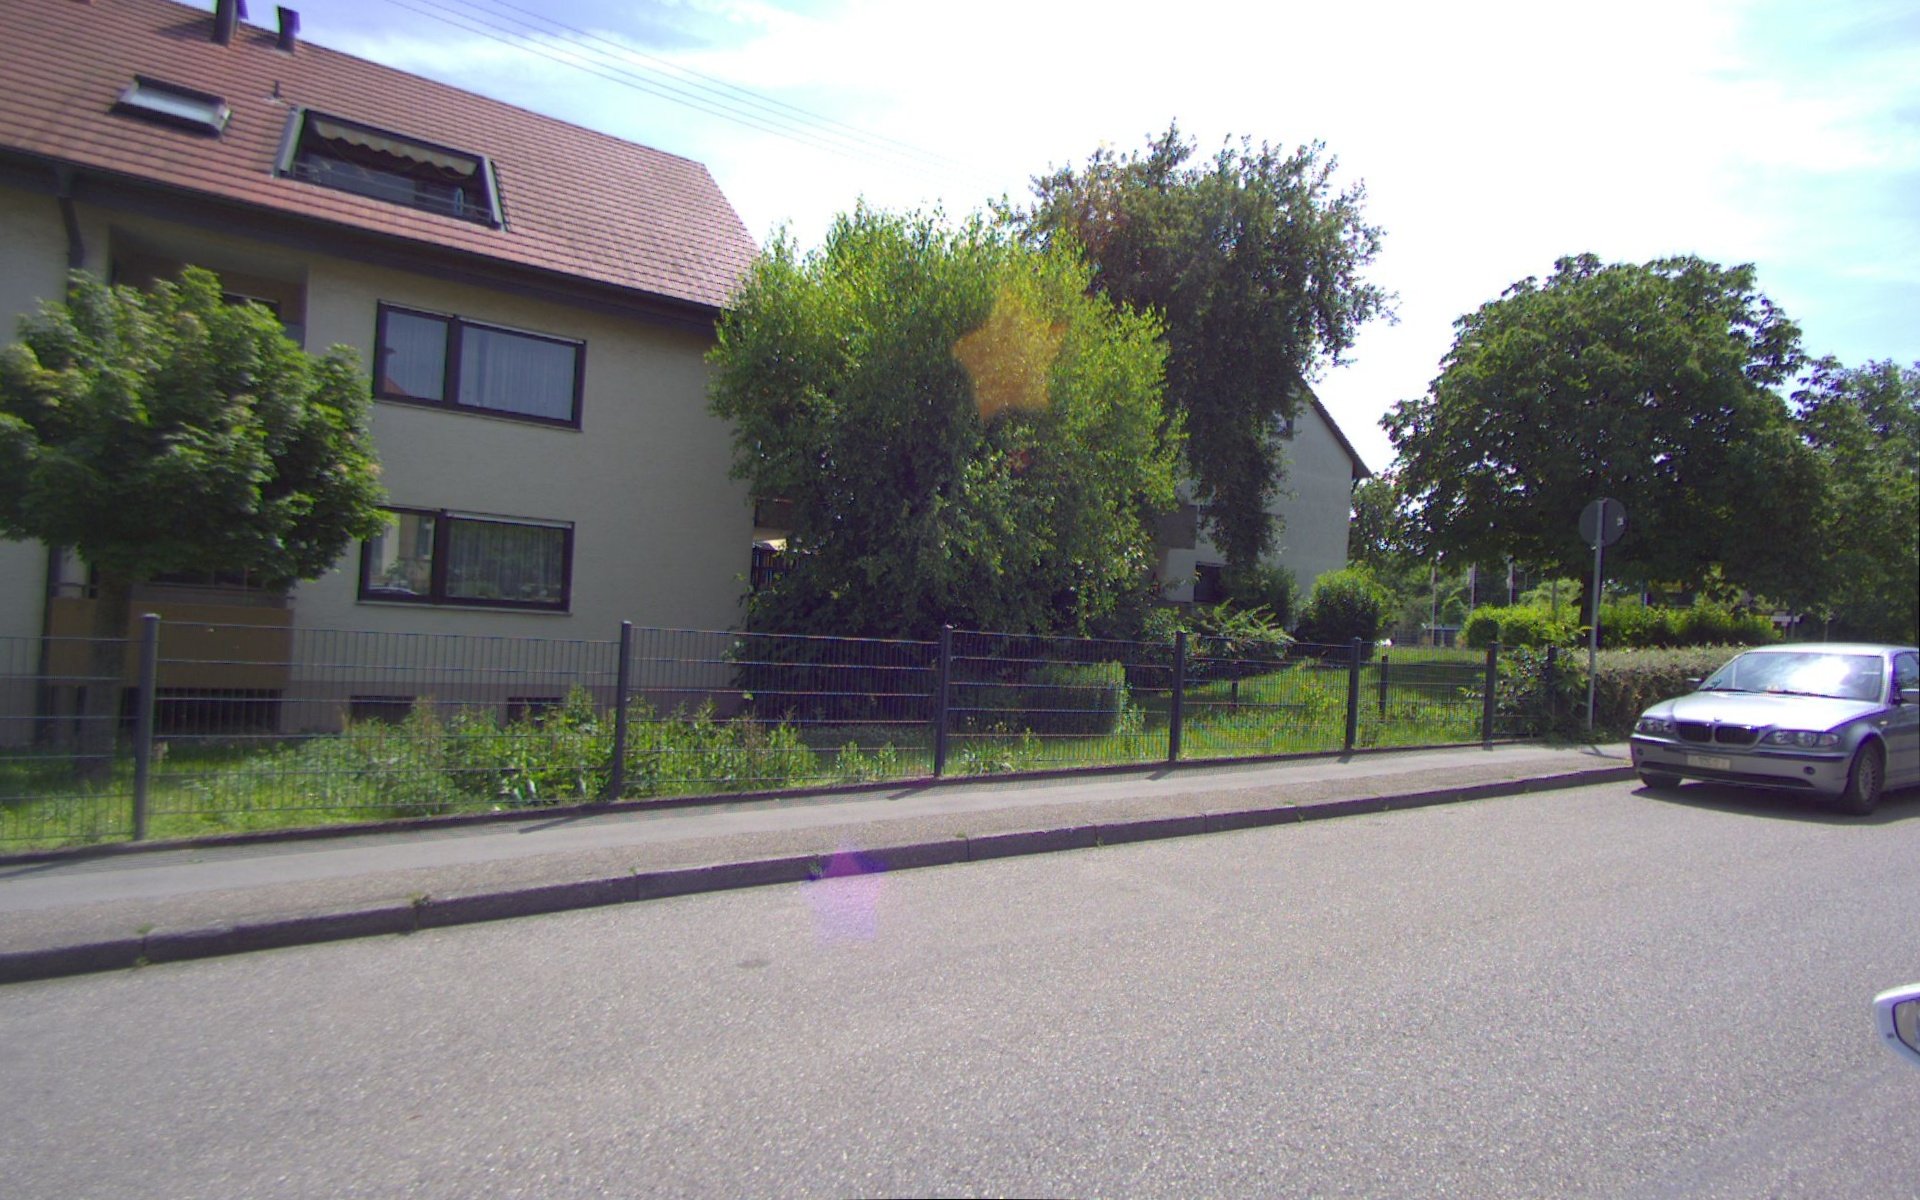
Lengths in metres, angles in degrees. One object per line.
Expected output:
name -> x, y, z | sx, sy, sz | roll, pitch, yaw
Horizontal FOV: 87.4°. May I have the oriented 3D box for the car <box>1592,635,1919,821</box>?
car -> 8.221, 1.098, 9.700 | 4.357, 1.413, 1.772 | 2, -2, -30
